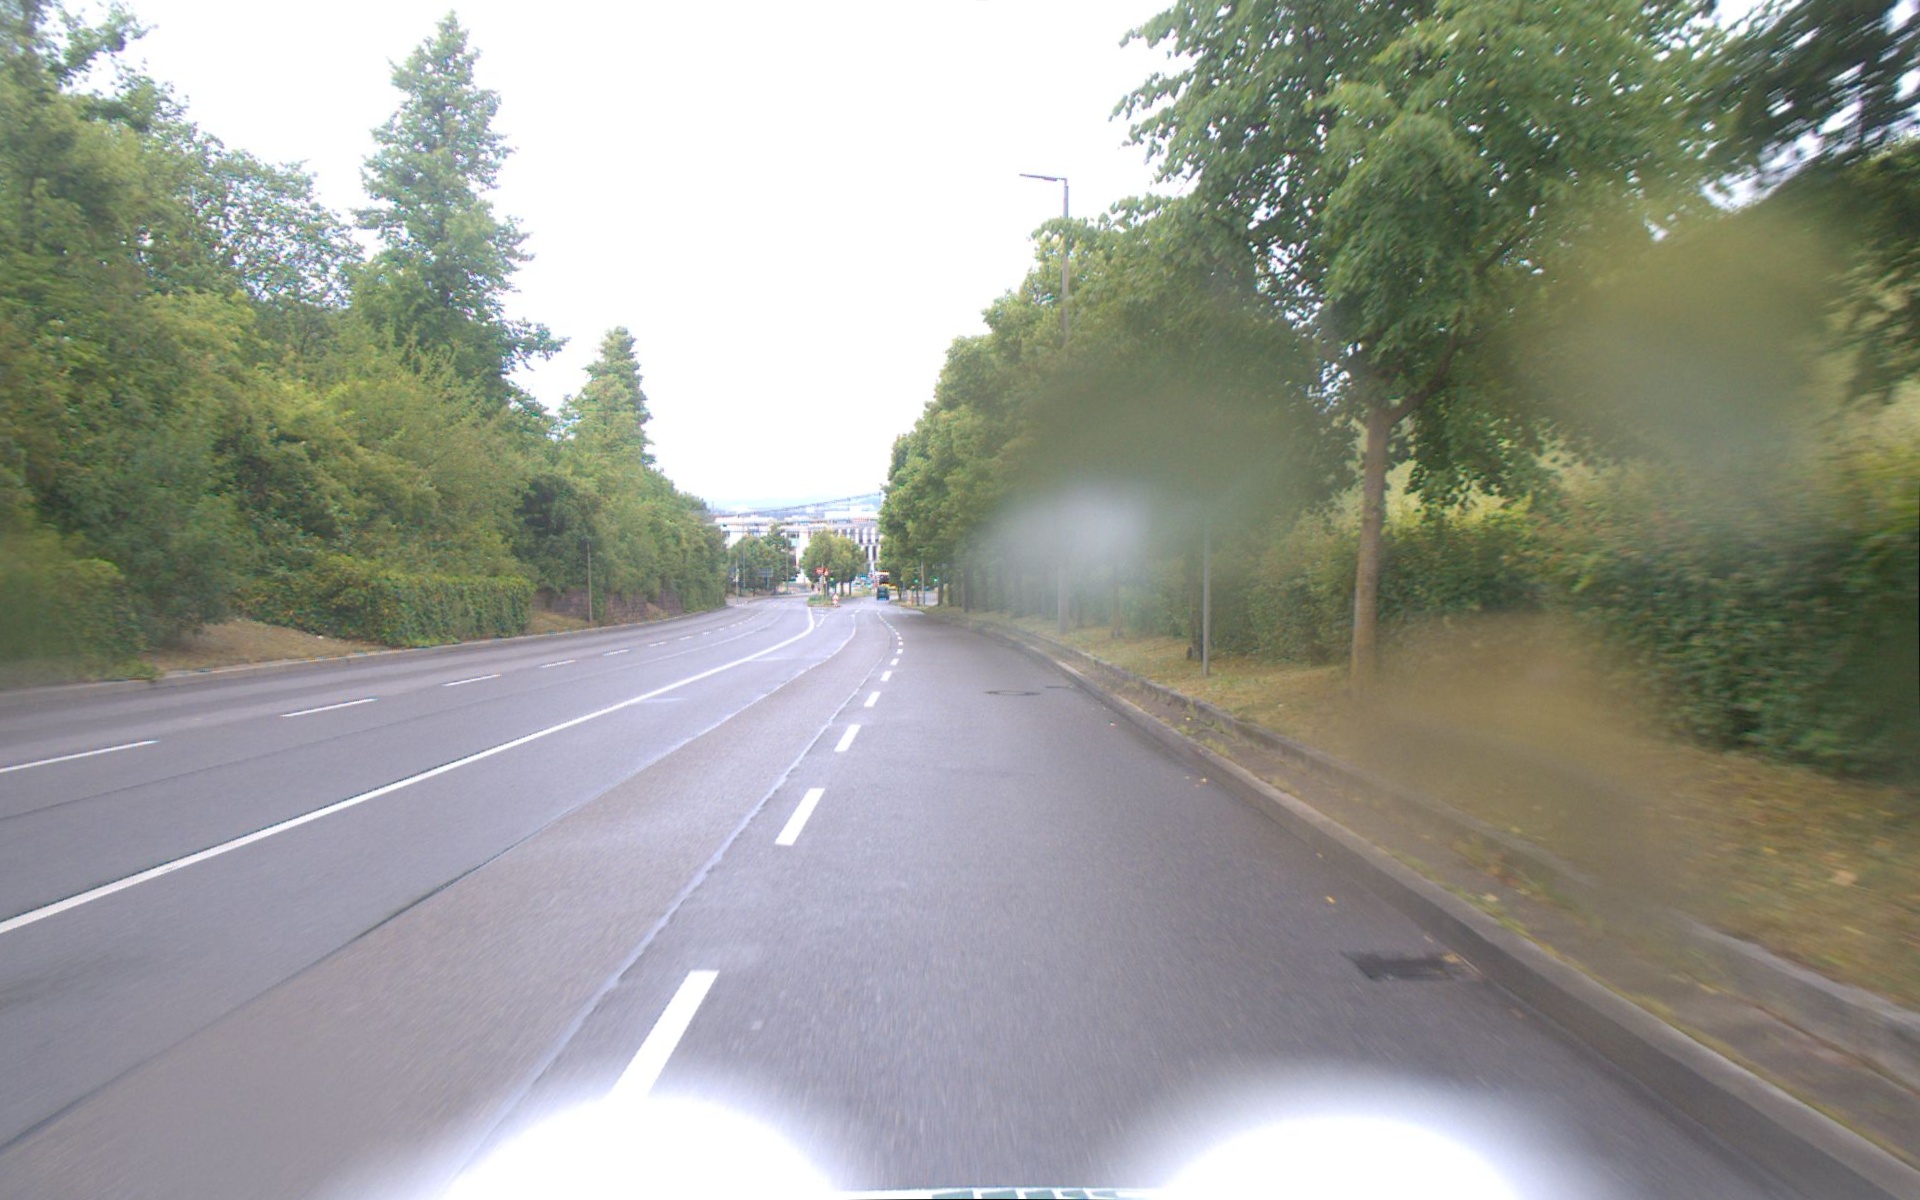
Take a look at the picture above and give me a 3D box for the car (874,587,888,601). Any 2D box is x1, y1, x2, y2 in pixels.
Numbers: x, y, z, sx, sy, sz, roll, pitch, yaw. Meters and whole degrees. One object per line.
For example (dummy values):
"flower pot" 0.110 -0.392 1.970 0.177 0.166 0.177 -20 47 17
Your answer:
"car" -10.883 -0.854 227.531 1.811 1.731 3.792 2 -1 -1
